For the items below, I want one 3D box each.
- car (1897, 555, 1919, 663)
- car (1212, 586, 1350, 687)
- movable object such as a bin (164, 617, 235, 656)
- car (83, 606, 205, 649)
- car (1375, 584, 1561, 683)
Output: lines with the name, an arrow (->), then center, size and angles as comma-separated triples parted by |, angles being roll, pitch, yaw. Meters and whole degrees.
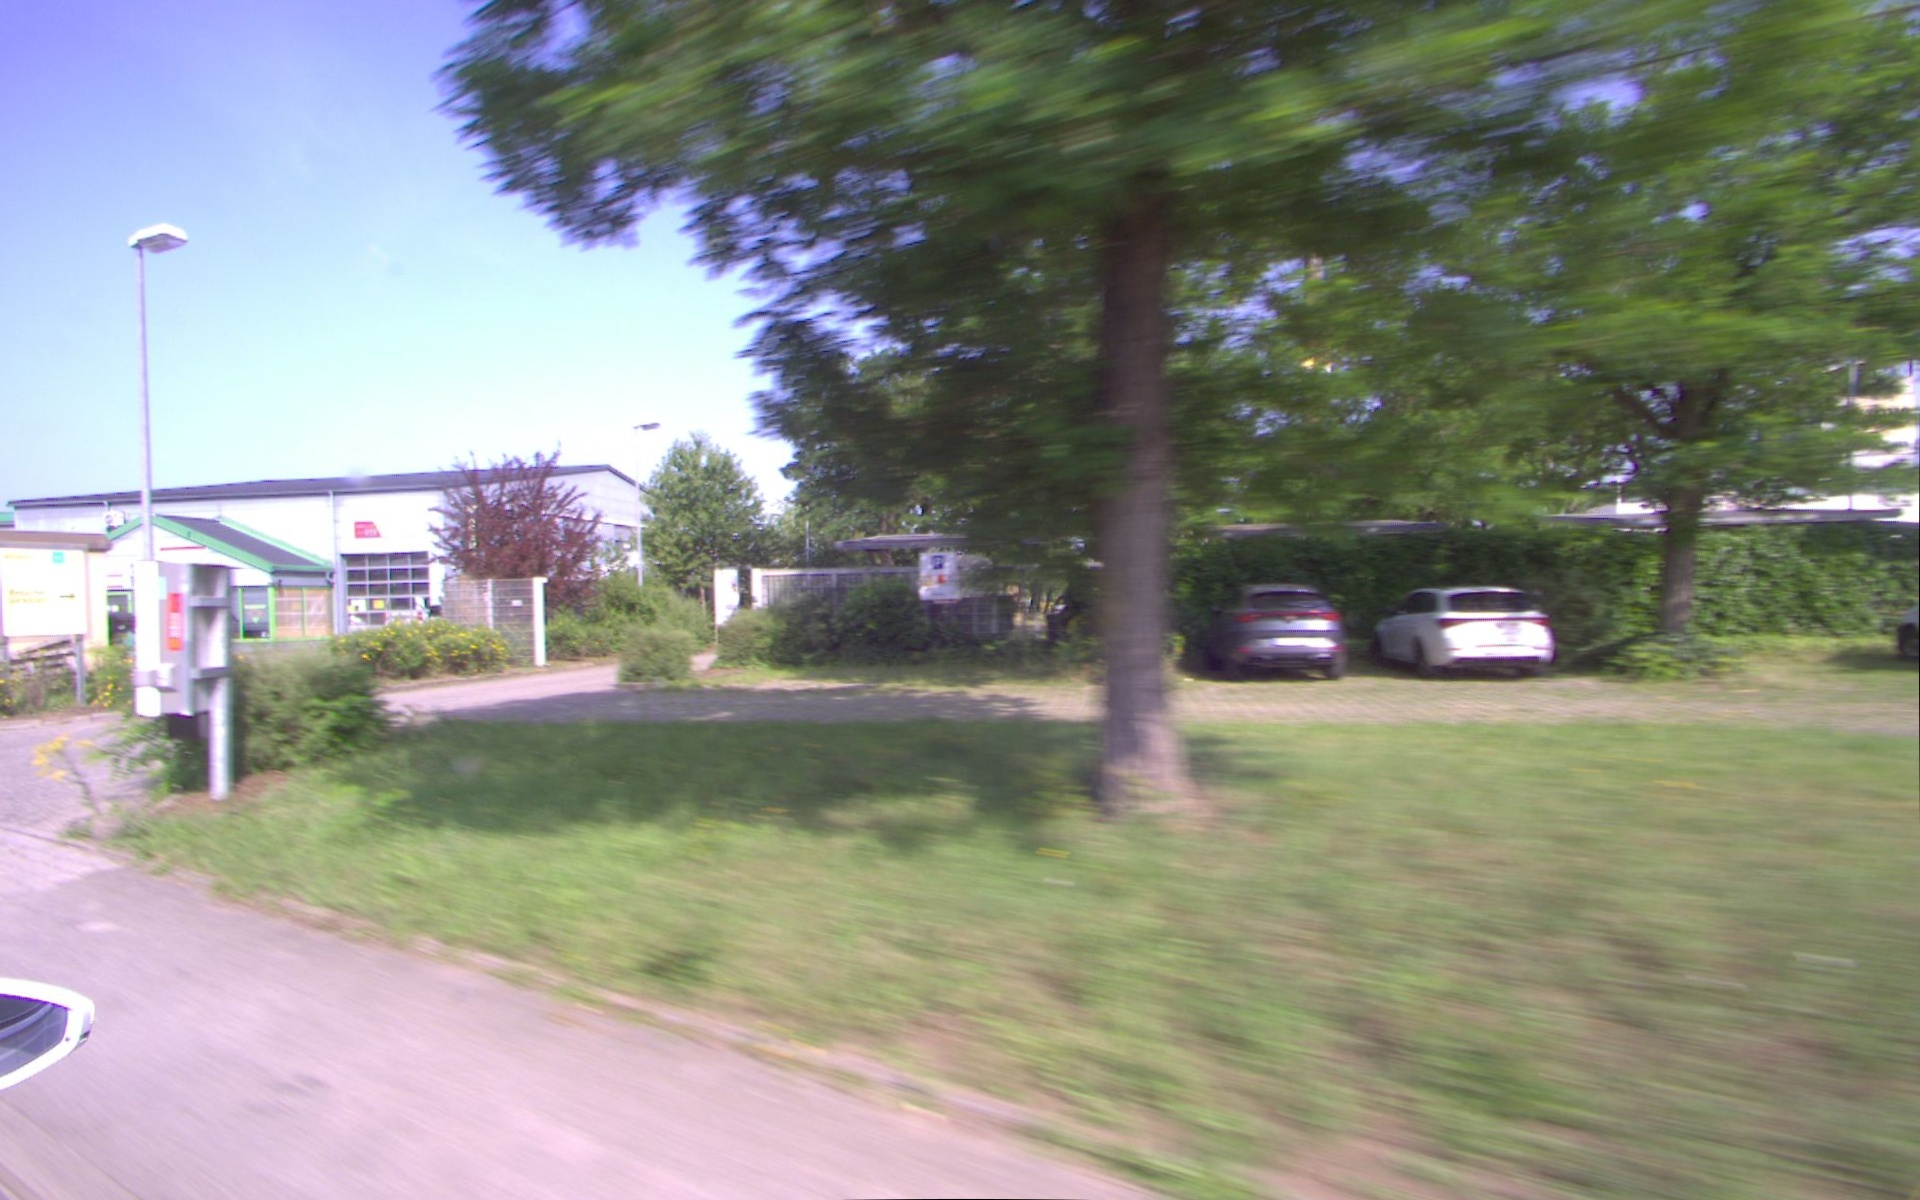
car -> 16.157, 0.141, 14.728 | 1.720, 1.774, 3.909 | -1, 0, 13
car -> 5.260, 0.520, 16.848 | 1.766, 1.483, 4.038 | -1, 1, 12
movable object such as a bin -> -28.118, 1.342, 37.037 | 1.970, 1.364, 0.999 | -1, 1, 10
car -> -28.110, 0.936, 34.531 | 3.127, 1.364, 1.583 | -1, 1, 10
car -> 8.155, 0.482, 16.465 | 1.709, 1.424, 4.038 | -1, 0, 12
